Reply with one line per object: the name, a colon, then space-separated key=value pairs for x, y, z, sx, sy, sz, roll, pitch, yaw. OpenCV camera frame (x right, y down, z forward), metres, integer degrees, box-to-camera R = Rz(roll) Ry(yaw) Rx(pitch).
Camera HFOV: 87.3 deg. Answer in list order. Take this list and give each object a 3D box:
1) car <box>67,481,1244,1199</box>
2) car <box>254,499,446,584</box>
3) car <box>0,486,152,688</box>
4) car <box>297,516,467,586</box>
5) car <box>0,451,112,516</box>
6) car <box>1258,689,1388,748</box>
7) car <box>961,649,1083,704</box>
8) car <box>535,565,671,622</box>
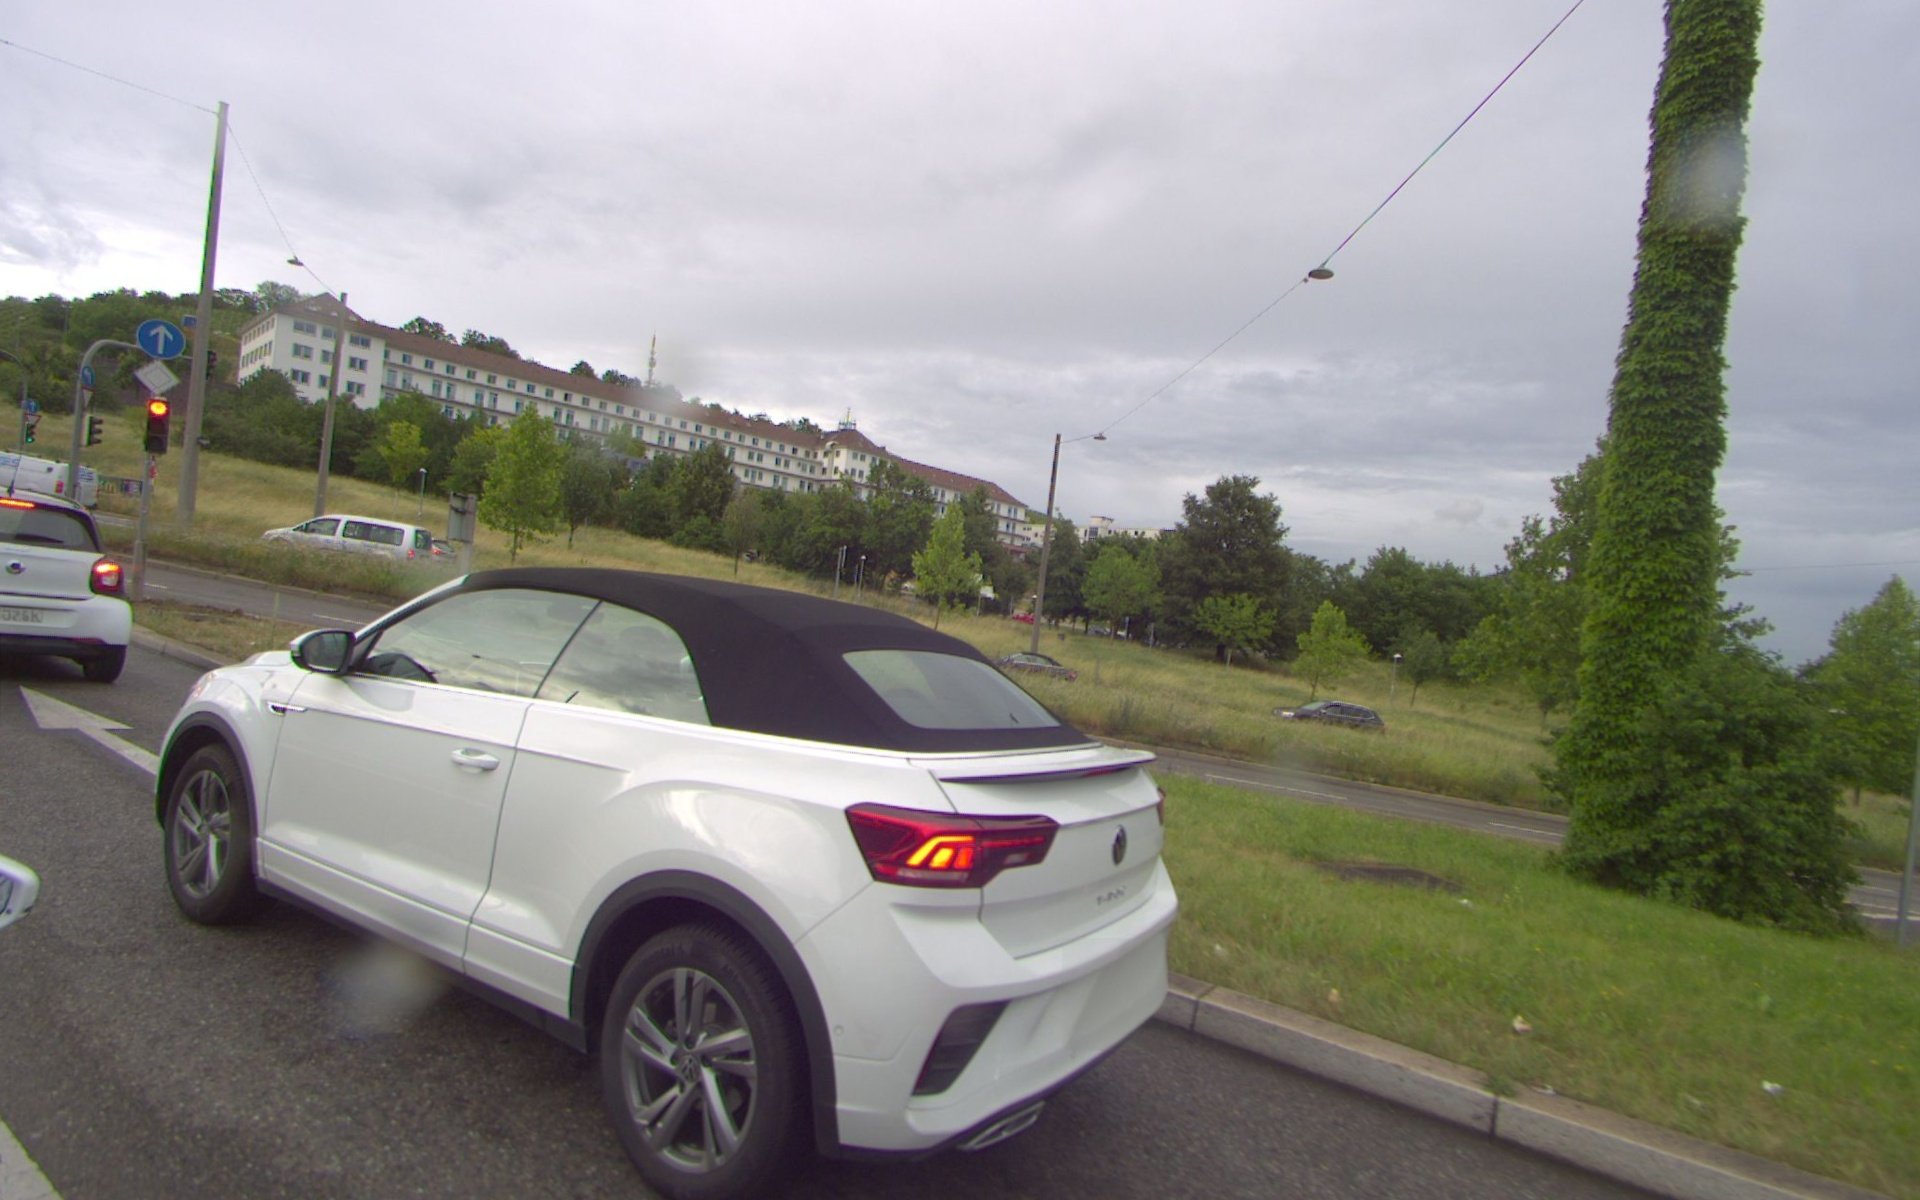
car: x=-1.314 y=0.579 z=3.772 sx=4.158 sy=1.571 sz=1.717 roll=6 pitch=-2 yaw=30
car: x=-19.009 y=-1.795 z=31.519 sx=4.618 sy=1.871 sz=1.820 roll=8 pitch=-1 yaw=-8
car: x=-8.701 y=-0.242 z=8.826 sx=3.399 sy=1.520 sz=1.658 roll=6 pitch=-2 yaw=38
car: x=-19.593 y=-1.625 z=34.283 sx=4.447 sy=1.639 sz=1.998 roll=8 pitch=-2 yaw=-8
car: x=-35.021 y=-4.487 z=37.600 sx=4.654 sy=1.815 sz=2.137 roll=8 pitch=-1 yaw=-1
car: x=14.506 y=4.725 z=40.399 sx=4.341 sy=1.655 sz=2.000 roll=8 pitch=-2 yaw=-3
car: x=2.362 y=2.939 z=39.069 sx=4.421 sy=1.494 sz=2.001 roll=8 pitch=-2 yaw=-2
car: x=-13.473 y=-0.214 z=38.170 sx=4.341 sy=1.494 sz=2.000 roll=8 pitch=-2 yaw=-3
